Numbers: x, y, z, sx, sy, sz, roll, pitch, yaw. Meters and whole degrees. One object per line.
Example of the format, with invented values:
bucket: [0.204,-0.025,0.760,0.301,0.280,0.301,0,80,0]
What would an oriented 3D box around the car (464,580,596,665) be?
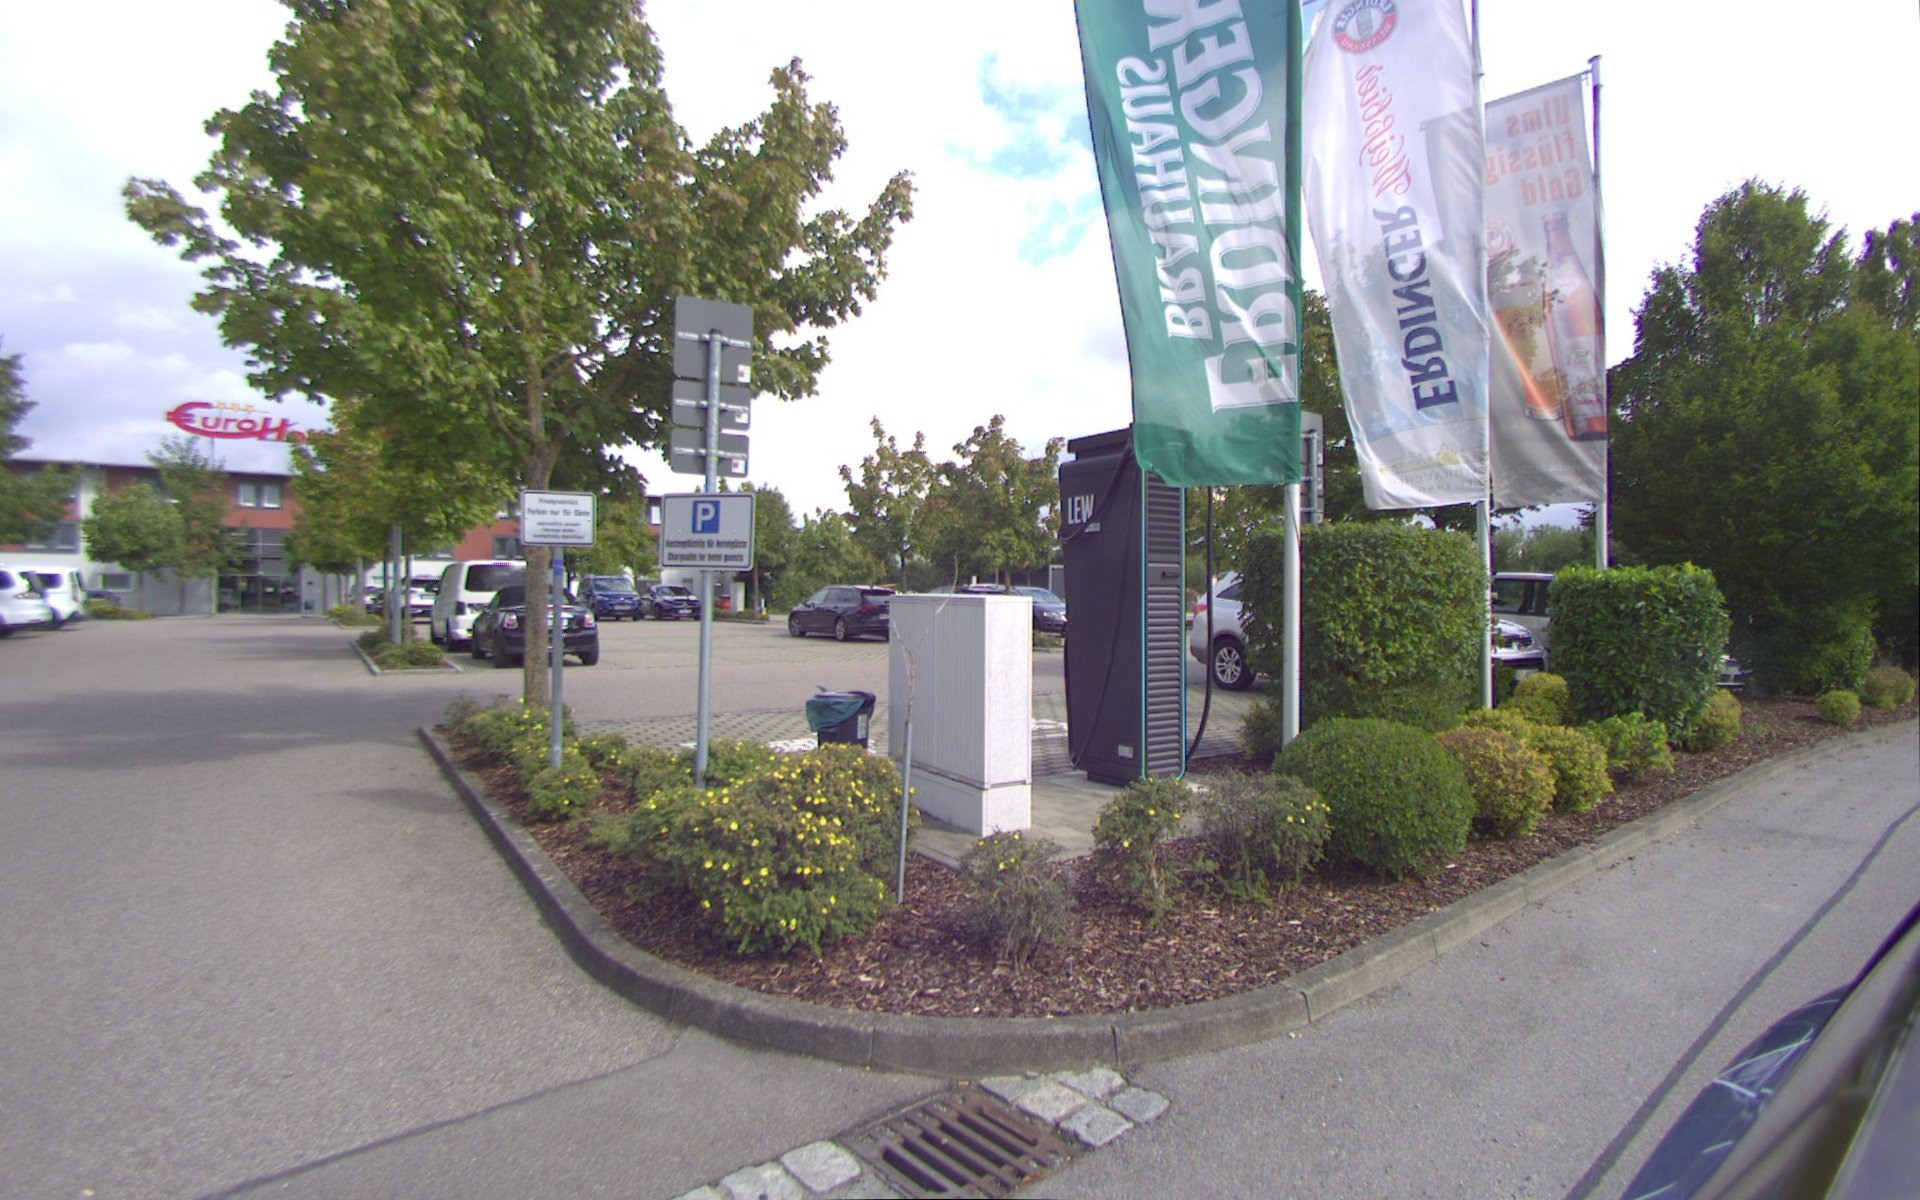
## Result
car: [-7.830,0.365,18.286,1.598,1.368,3.373,0,0,-34]

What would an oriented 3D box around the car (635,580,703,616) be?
car: [-11.764,-0.082,40.821,1.500,1.391,3.476,0,0,-37]

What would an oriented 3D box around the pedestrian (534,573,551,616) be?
pedestrian: [-16.736,-0.218,40.588,0.490,1.747,0.416,0,-1,-2]

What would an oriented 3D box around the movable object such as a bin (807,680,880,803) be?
movable object such as a bin: [-0.715,0.857,6.205,0.360,0.693,0.289,0,-1,-30]

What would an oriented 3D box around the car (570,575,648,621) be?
car: [-13.854,-0.074,39.814,1.735,1.677,3.997,0,0,-37]

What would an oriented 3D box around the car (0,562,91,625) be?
car: [-27.303,-0.186,27.856,4.982,1.733,1.597,0,0,-35]

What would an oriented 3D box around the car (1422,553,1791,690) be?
car: [9.402,0.277,15.105,1.625,1.738,4.365,0,0,-33]

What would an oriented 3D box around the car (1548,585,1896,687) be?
car: [11.639,0.486,15.719,1.693,1.367,4.000,0,0,-35]

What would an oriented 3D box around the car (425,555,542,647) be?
car: [-10.683,0.024,22.506,1.733,1.845,4.367,0,0,-34]

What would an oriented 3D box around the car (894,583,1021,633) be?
car: [-0.149,0.218,29.788,1.688,1.363,4.277,0,0,-34]

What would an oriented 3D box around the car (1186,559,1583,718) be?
car: [5.327,0.351,13.435,1.880,1.717,4.685,-1,2,-30]

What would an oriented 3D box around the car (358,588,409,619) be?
car: [-28.079,0.186,49.280,1.644,1.447,3.997,0,0,-37]

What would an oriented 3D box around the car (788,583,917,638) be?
car: [-2.990,0.263,27.280,1.688,1.363,4.277,0,0,-34]

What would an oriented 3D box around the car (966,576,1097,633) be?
car: [2.074,0.132,30.418,1.961,1.591,4.002,1,0,-32]

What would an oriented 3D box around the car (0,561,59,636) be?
car: [-24.285,-0.039,23.367,4.982,1.733,1.750,0,0,-35]

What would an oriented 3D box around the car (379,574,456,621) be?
car: [-18.946,-0.076,35.268,1.790,1.519,3.843,0,0,-37]

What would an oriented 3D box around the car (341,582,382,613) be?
car: [-35.353,-0.149,59.765,1.644,1.804,3.997,0,0,-37]
